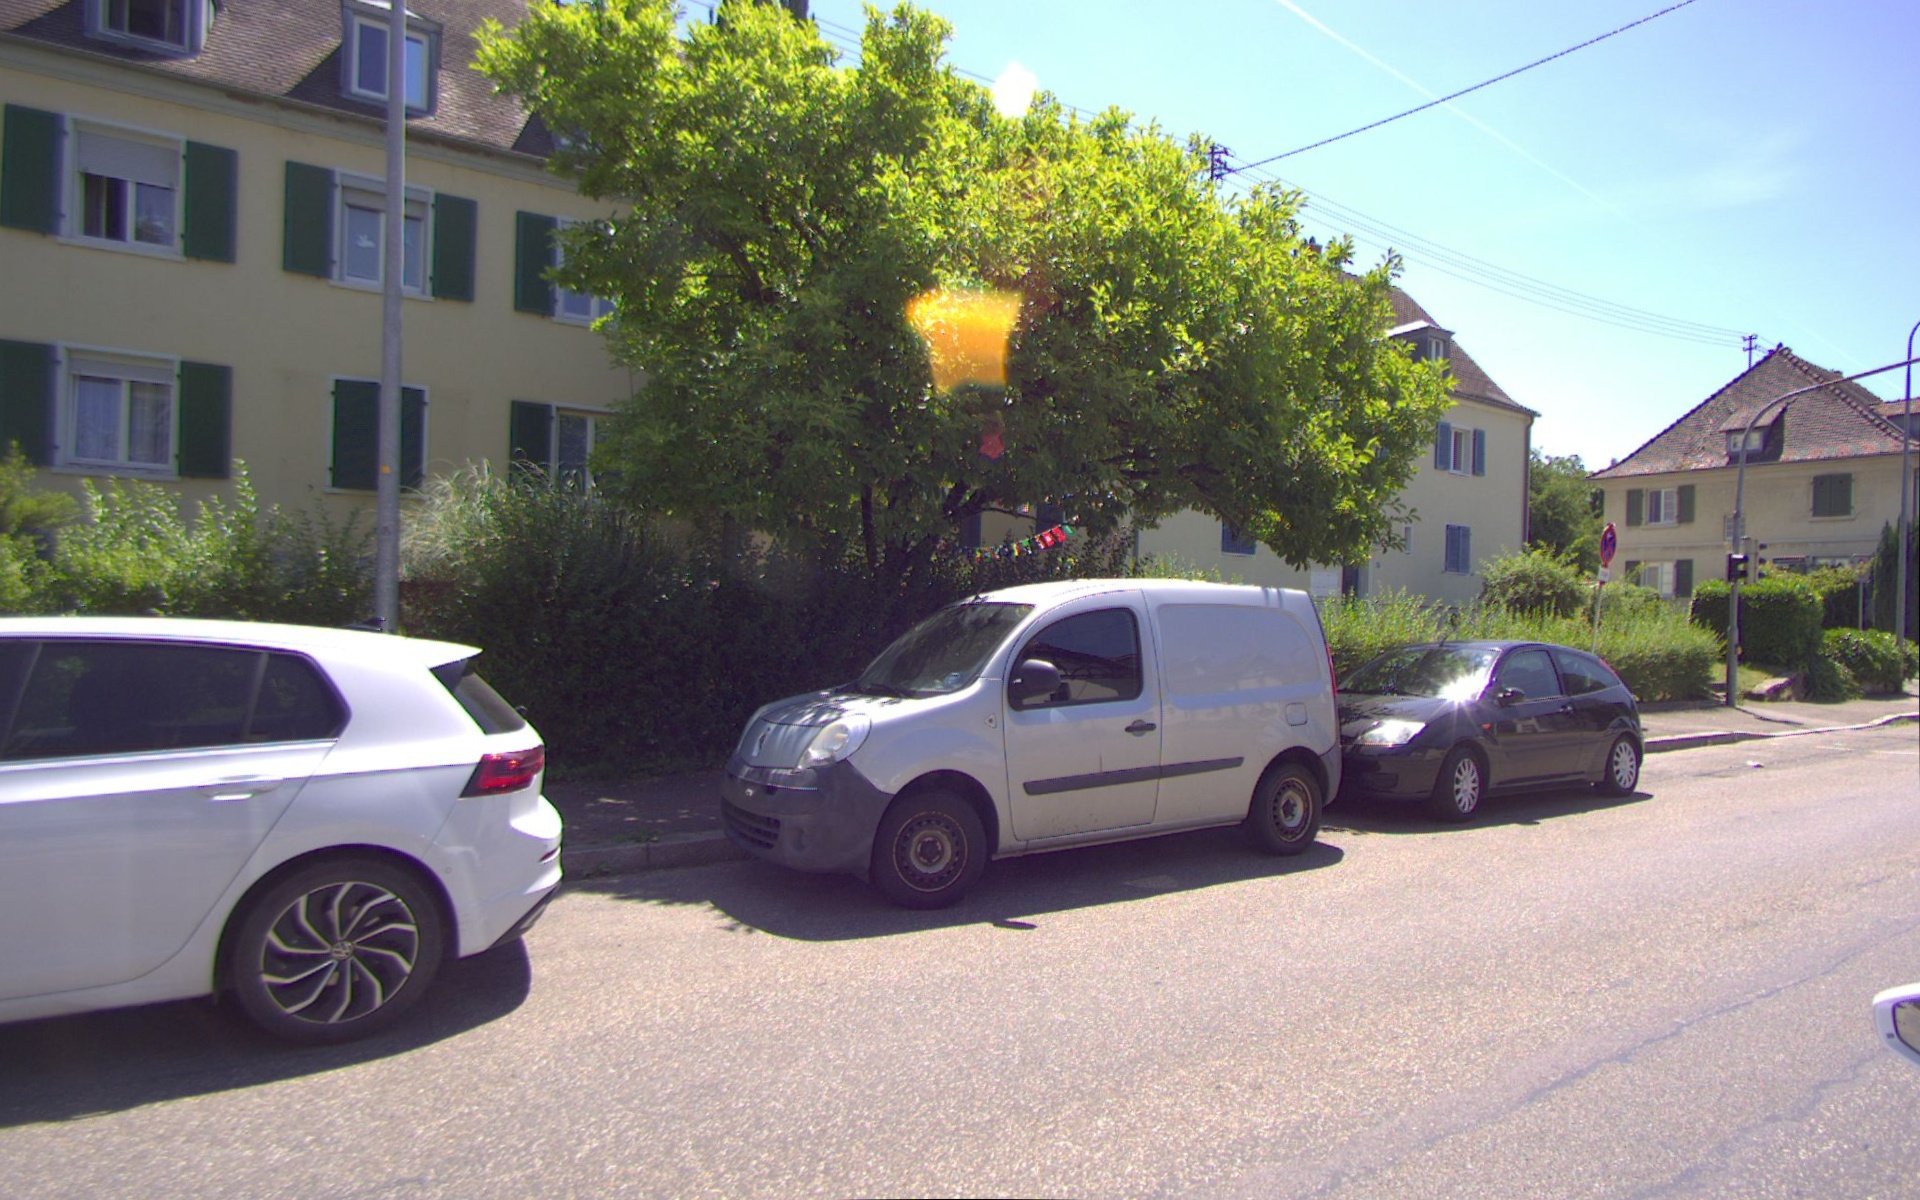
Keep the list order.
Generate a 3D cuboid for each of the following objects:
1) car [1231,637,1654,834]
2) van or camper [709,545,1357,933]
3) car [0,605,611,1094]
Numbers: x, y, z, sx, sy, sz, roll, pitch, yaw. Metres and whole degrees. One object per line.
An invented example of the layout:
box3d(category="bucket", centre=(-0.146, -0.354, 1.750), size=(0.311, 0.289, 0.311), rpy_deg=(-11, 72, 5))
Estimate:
box3d(category="car", centre=(4.434, 1.067, 9.088), size=(3.883, 1.430, 1.672), rpy_deg=(2, -2, -32))
box3d(category="van or camper", centre=(0.569, 0.731, 6.483), size=(3.939, 1.828, 1.673), rpy_deg=(2, -2, -31))
box3d(category="car", centre=(-3.581, 0.760, 3.580), size=(4.195, 1.460, 1.674), rpy_deg=(2, -2, -29))
